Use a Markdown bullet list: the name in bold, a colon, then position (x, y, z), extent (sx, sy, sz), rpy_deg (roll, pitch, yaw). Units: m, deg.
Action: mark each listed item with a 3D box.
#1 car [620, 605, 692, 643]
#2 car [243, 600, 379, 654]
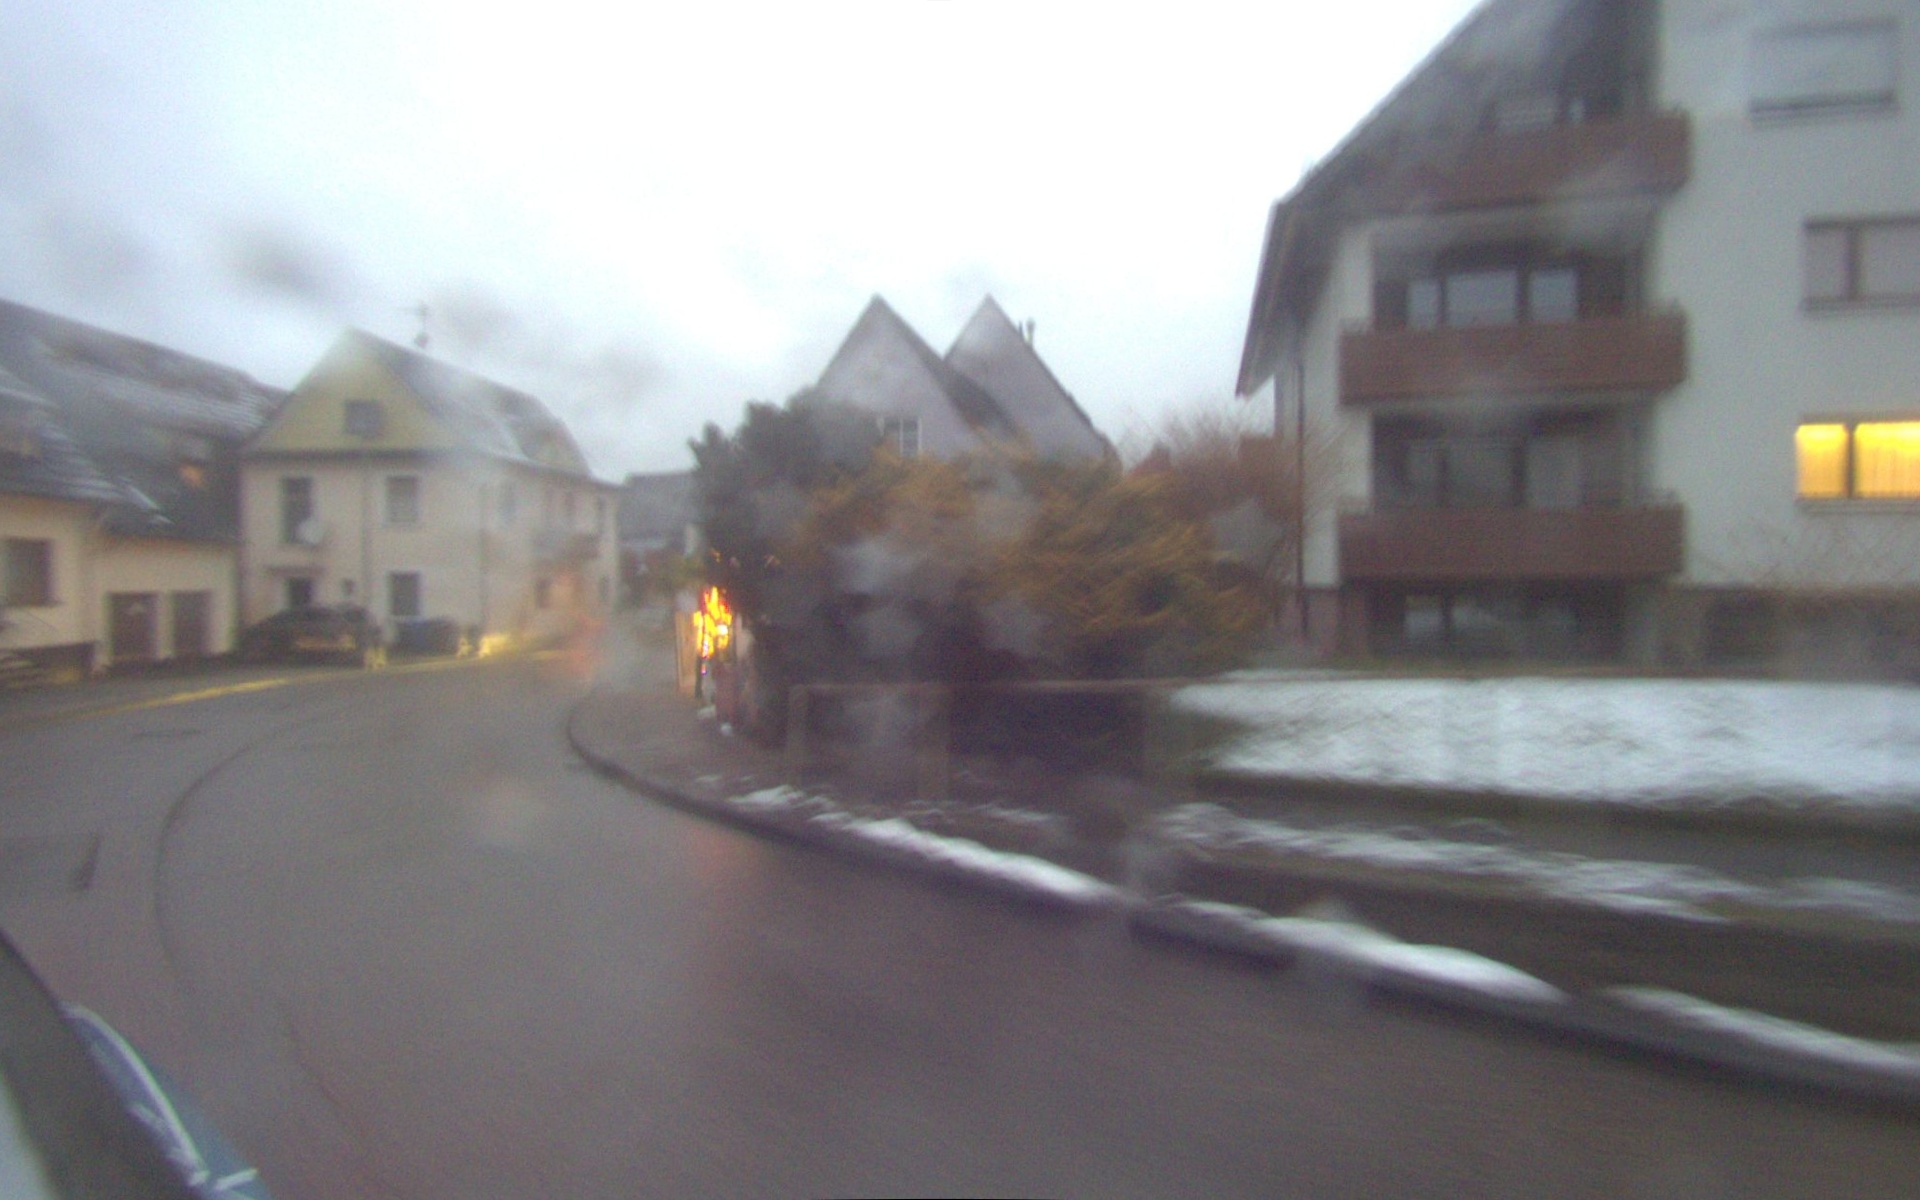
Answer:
- **car**: position (-14.031, 1.067, 46.991), extent (1.789, 1.498, 4.273), rpy_deg (2, 1, 4)
- **car**: position (-20.727, 0.847, 32.372), extent (3.452, 1.517, 1.644), rpy_deg (2, 0, 10)
